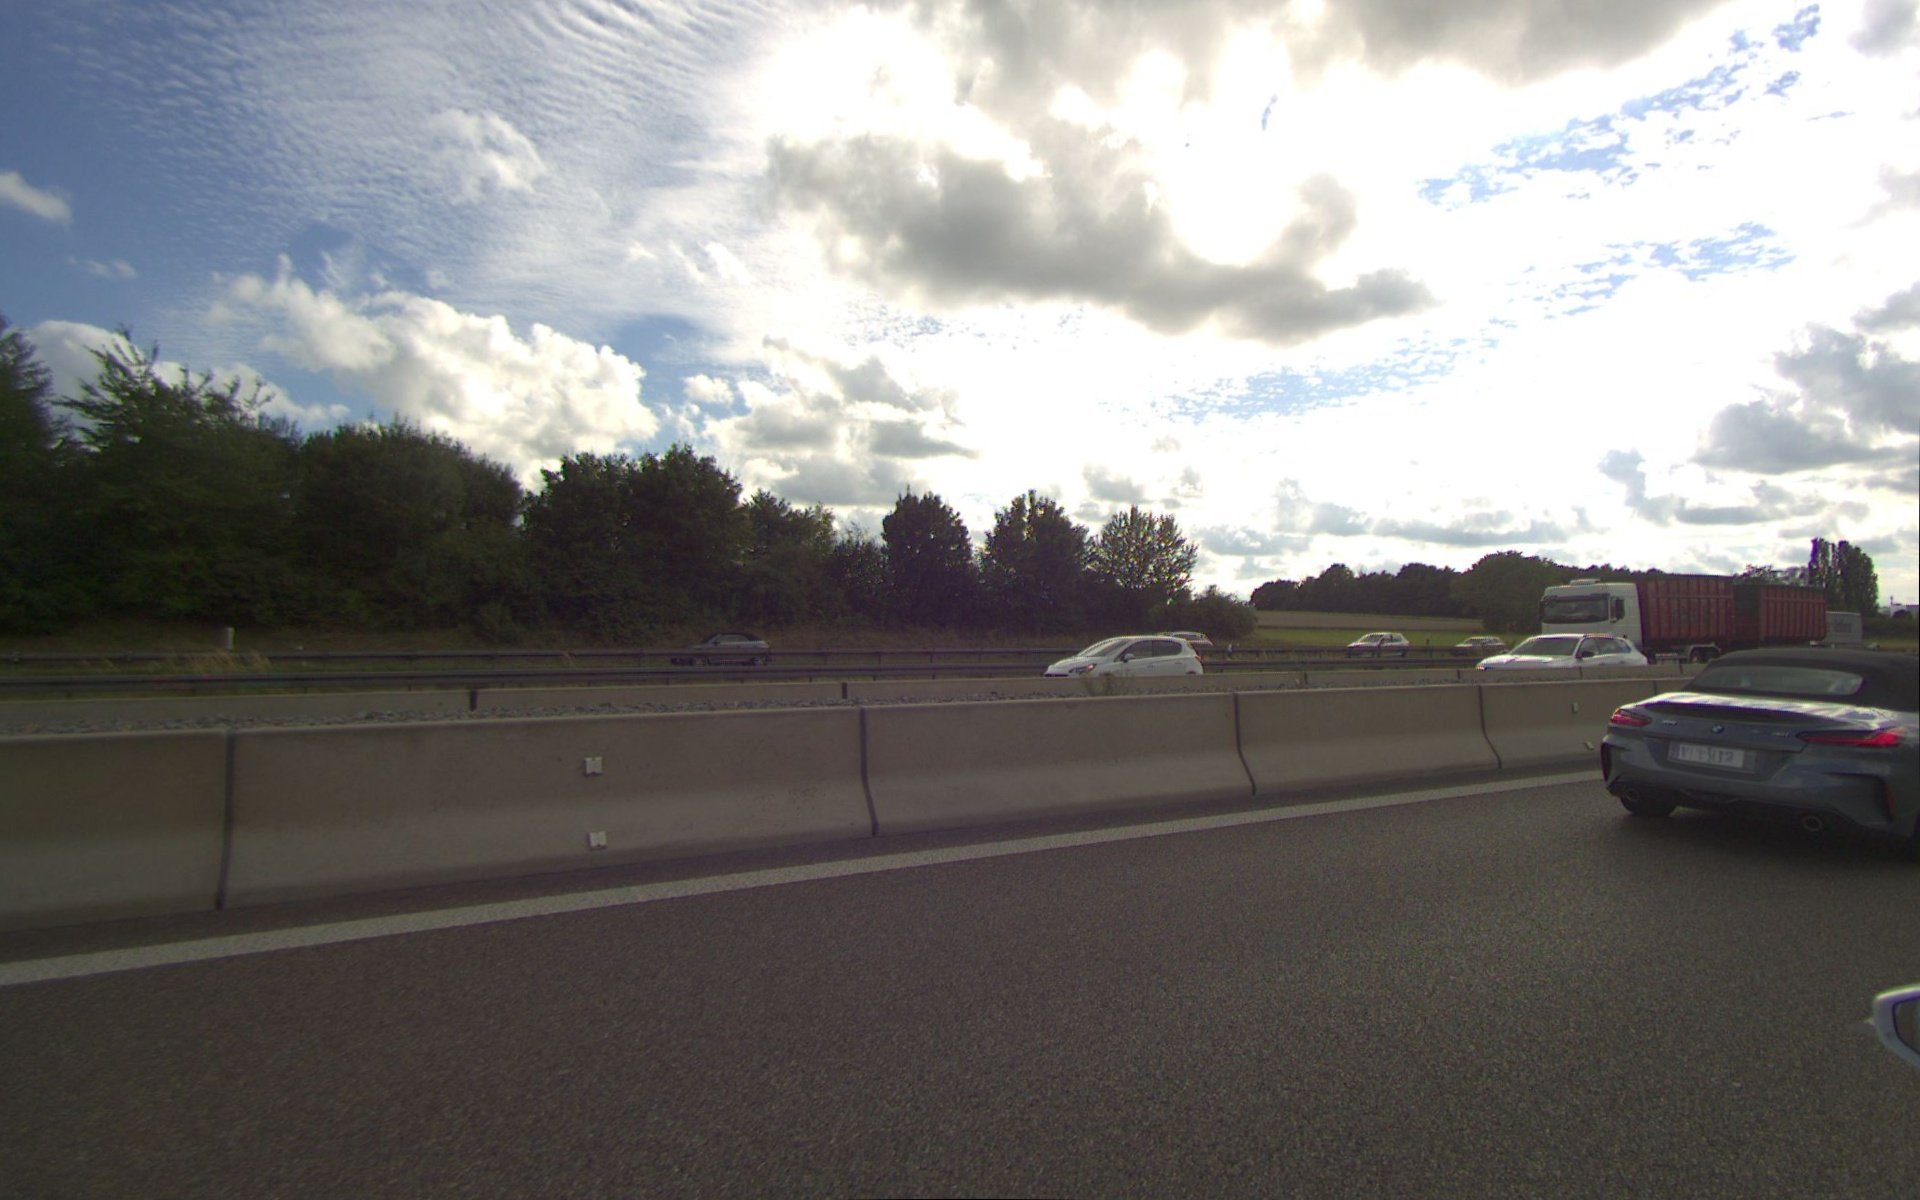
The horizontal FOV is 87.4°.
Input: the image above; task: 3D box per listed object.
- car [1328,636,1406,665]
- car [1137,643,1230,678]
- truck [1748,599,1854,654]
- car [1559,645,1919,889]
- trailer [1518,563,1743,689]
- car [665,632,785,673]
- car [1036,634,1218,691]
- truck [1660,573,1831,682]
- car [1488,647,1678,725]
[{"bbox_3d":[22.708,2.818,56.061,4.400,1.554,1.721,2,-1,-30],"label":"car"},{"bbox_3d":[10.808,2.887,48.441,4.400,1.554,1.721,2,-1,-30],"label":"car"},{"bbox_3d":[78.515,2.529,93.636,13.961,4.866,3.059,2,-1,-30],"label":"truck"},{"bbox_3d":[6.969,1.046,7.814,4.884,1.320,1.864,1,-1,-30],"label":"car"},{"bbox_3d":[25.959,1.023,38.664,10.532,4.345,3.031,1,-1,-31],"label":"trailer"},{"bbox_3d":[-9.464,2.116,40.583,4.400,1.554,1.721,2,-1,-30],"label":"car"},{"bbox_3d":[3.910,1.412,23.322,4.082,1.208,1.647,1,-1,-31],"label":"car"},{"bbox_3d":[34.193,1.216,43.612,8.489,4.345,3.032,1,-1,-31],"label":"truck"},{"bbox_3d":[13.866,1.839,22.291,4.589,1.524,1.680,1,-1,-31],"label":"car"}]
